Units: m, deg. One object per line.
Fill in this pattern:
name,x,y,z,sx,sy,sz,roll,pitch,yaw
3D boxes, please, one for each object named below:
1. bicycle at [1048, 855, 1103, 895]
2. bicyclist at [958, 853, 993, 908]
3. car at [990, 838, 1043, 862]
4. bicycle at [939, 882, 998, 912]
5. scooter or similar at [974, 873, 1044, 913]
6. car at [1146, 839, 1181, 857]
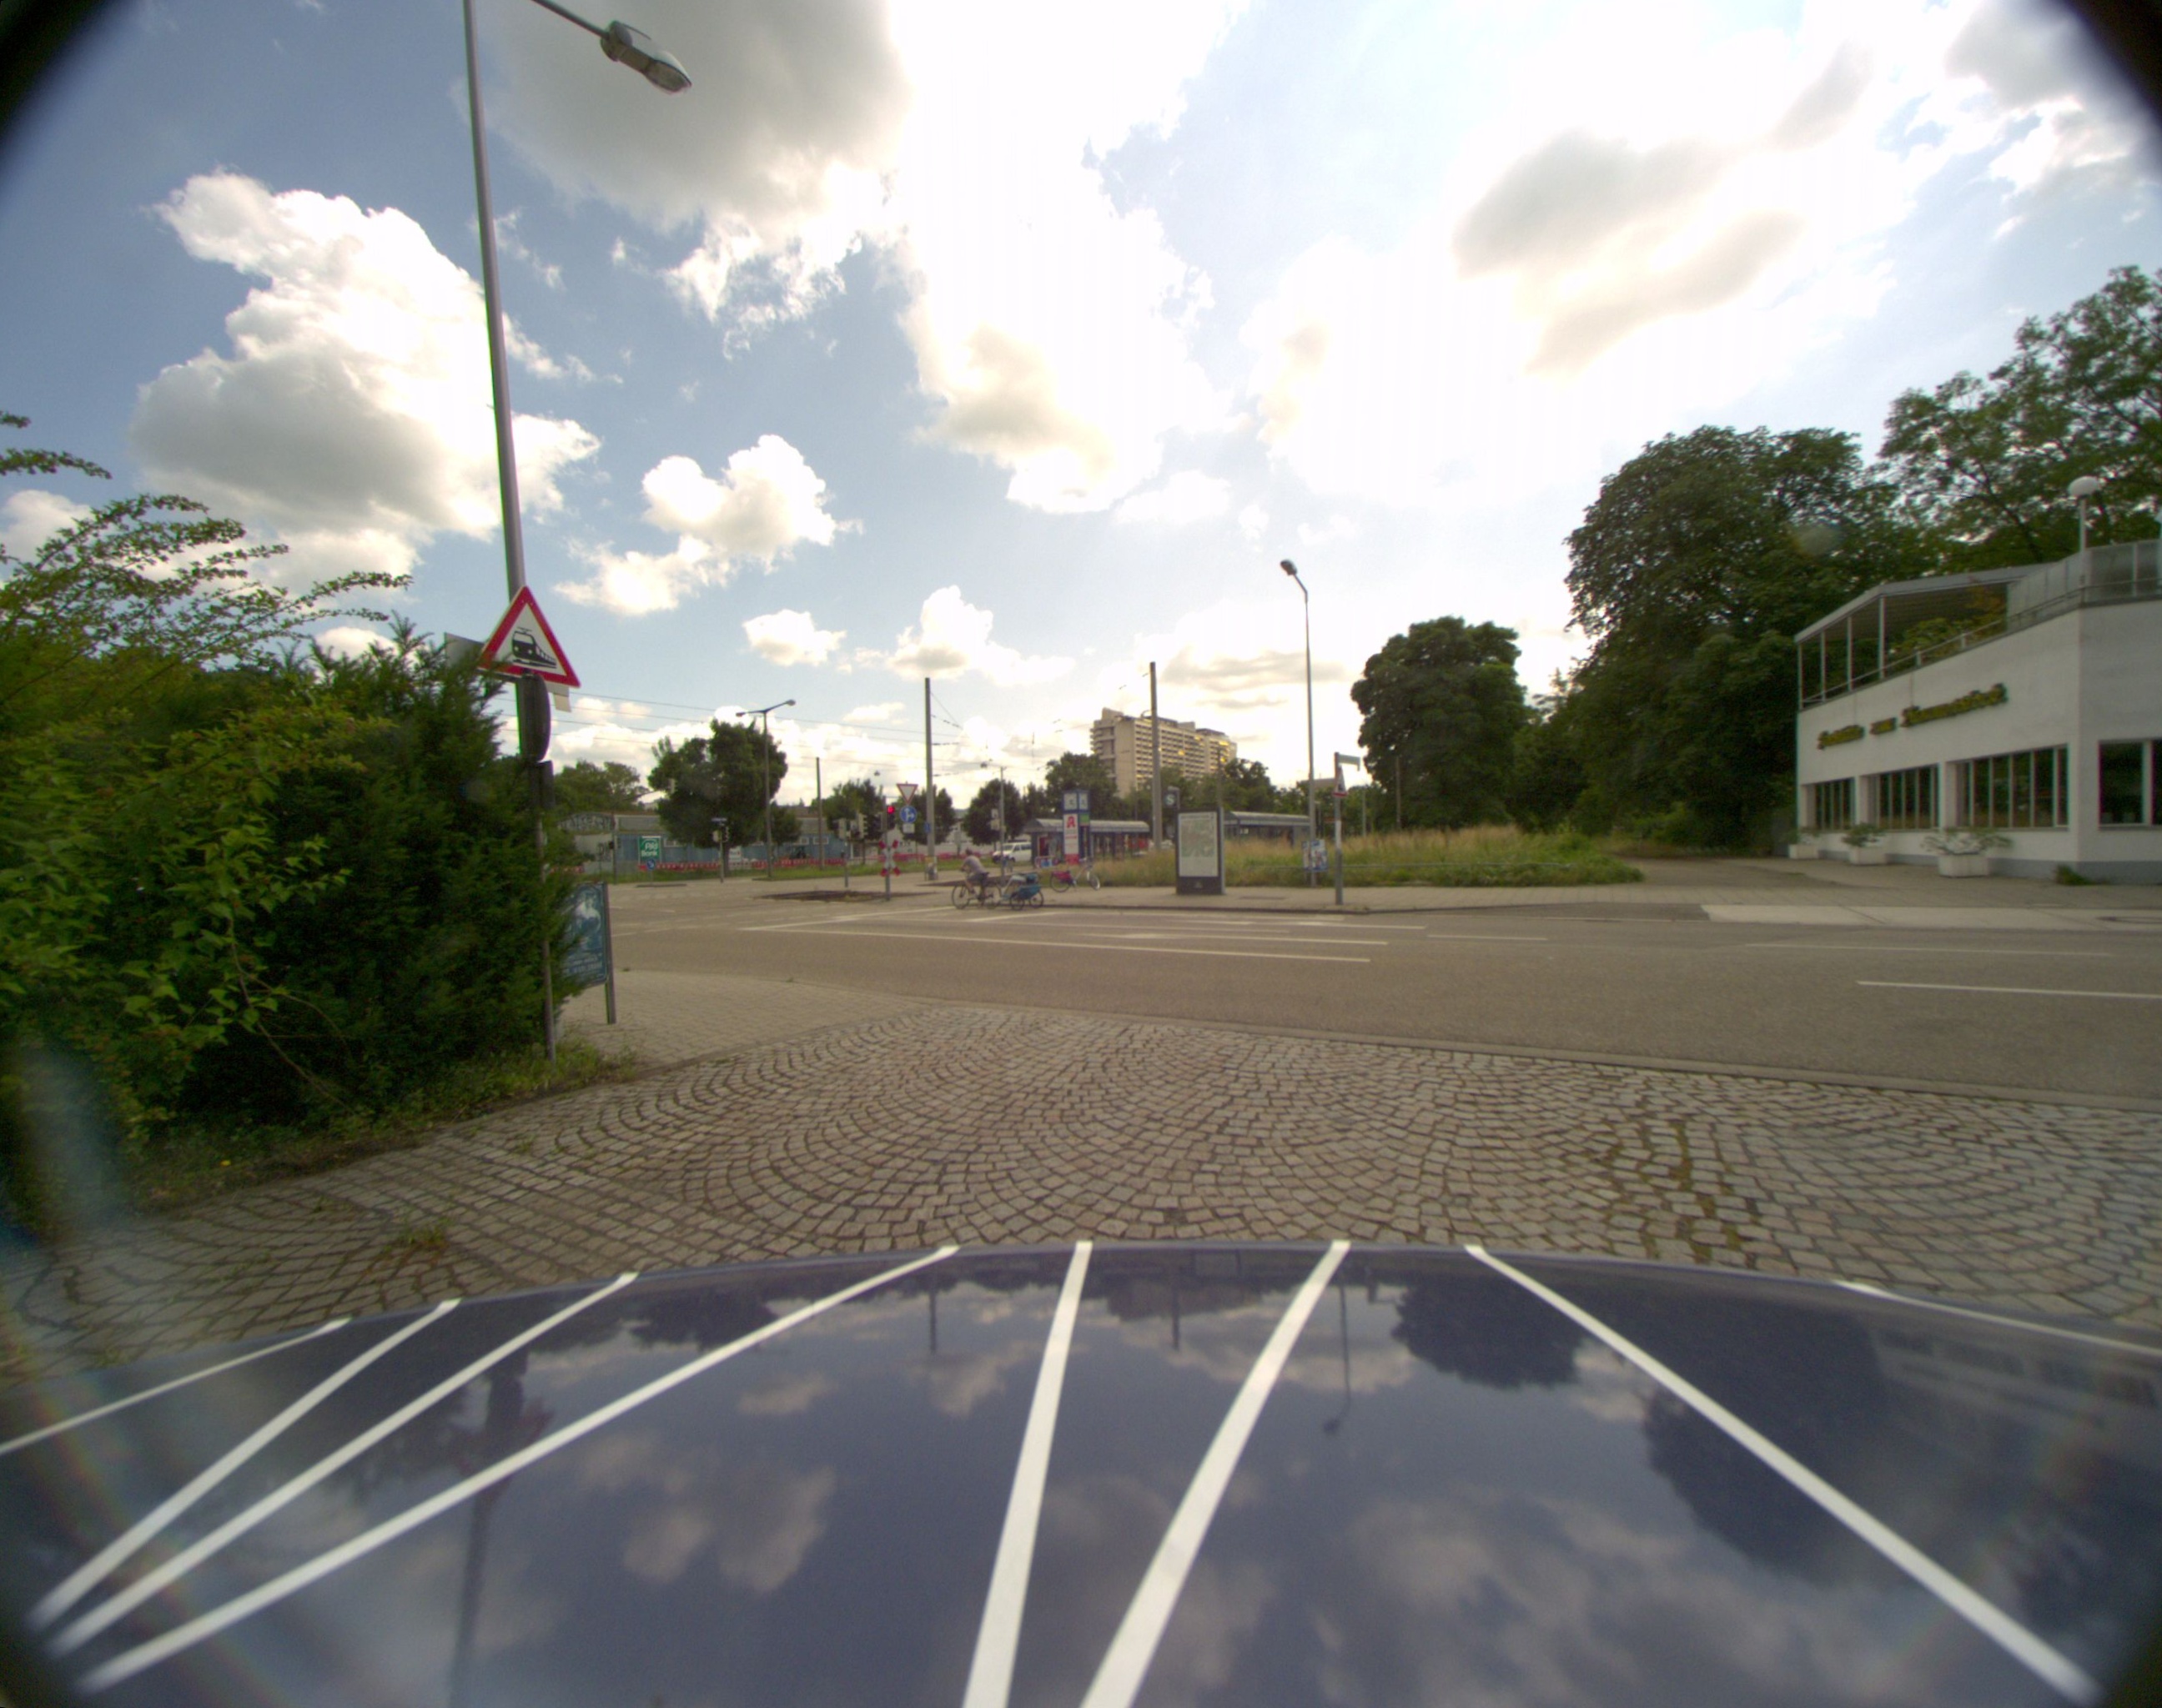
bicycle,-0.175,0.660,24.015,1.659,1.126,0.701,-4,2,0
bicyclist,-2.924,0.718,20.987,0.839,1.467,0.456,-1,2,37
car,-5.754,-0.399,68.319,1.994,2.002,4.841,-1,1,36
bicycle,-3.151,1.180,21.195,1.723,0.760,0.556,-1,1,37
scooter or similar,-1.920,1.013,20.119,1.575,0.974,0.964,-2,1,37
car,8.522,-0.662,78.043,1.743,1.775,4.164,1,2,36
